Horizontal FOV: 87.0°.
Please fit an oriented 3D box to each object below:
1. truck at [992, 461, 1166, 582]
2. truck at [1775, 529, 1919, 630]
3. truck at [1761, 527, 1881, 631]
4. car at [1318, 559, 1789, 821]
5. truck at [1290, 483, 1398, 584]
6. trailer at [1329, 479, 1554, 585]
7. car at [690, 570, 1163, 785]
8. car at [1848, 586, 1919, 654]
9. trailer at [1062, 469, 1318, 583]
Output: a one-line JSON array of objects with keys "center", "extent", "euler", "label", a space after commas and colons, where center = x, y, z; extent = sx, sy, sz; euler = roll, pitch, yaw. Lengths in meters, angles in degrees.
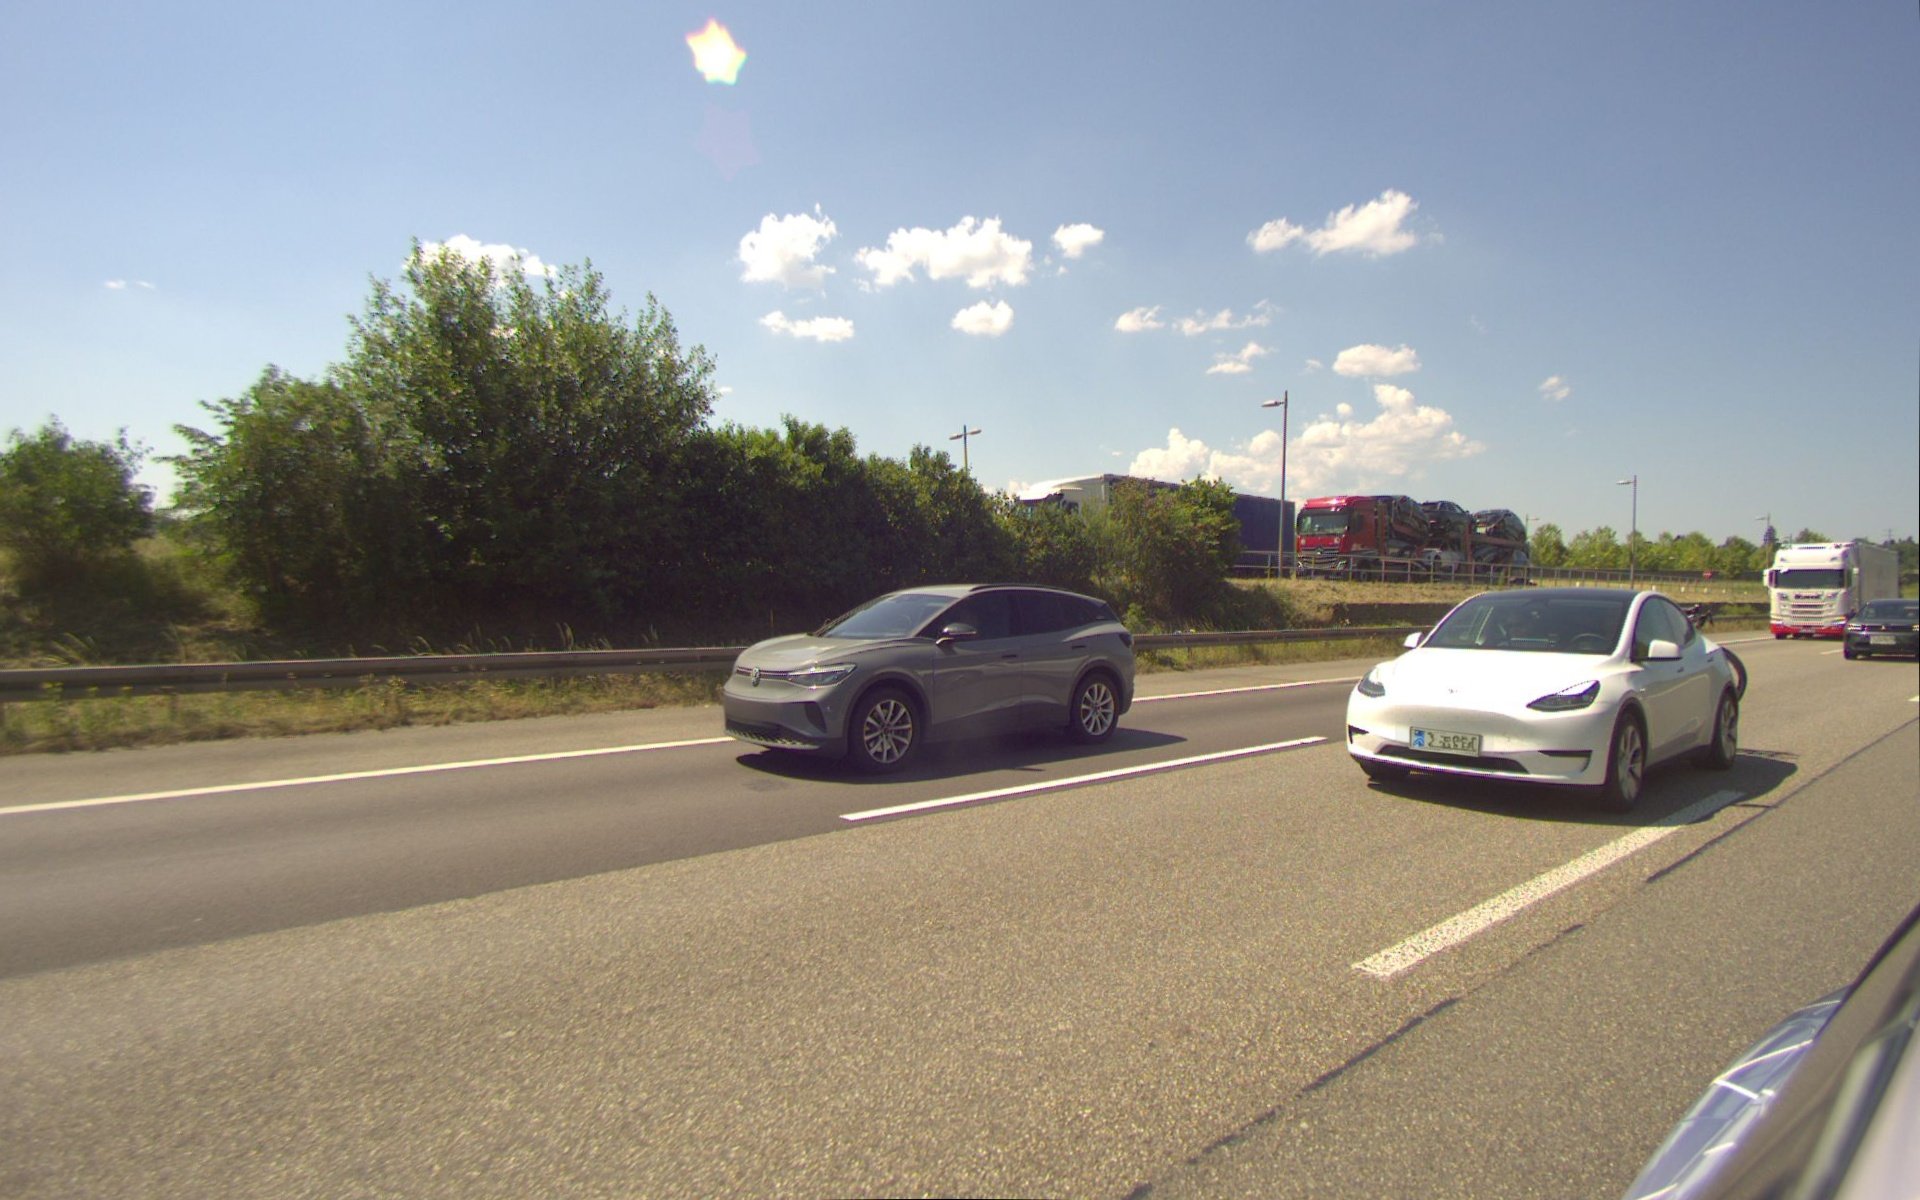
[{"center": [4.551, -2.762, 38.021], "extent": [6.288, 4.135, 3.057], "euler": [-1, 0, -42], "label": "truck"}, {"center": [39.682, -0.869, 45.001], "extent": [12.283, 3.957, 3.074], "euler": [-1, 0, -40], "label": "truck"}, {"center": [34.630, -0.805, 40.710], "extent": [3.779, 3.957, 3.074], "euler": [0, 0, -40], "label": "truck"}, {"center": [5.510, 0.540, 8.973], "extent": [5.503, 1.657, 1.953], "euler": [-1, 0, -41], "label": "car"}, {"center": [15.840, -2.634, 41.696], "extent": [3.930, 3.875, 2.607], "euler": [-1, 0, -41], "label": "truck"}, {"center": [23.546, -2.924, 48.336], "extent": [18.099, 4.311, 2.610], "euler": [-1, 0, -41], "label": "trailer"}, {"center": [-0.150, 0.568, 9.990], "extent": [4.506, 1.657, 1.871], "euler": [-1, 0, -41], "label": "car"}, {"center": [25.081, 0.476, 26.606], "extent": [3.974, 1.667, 1.955], "euler": [-1, 0, -39], "label": "car"}, {"center": [10.238, -2.846, 43.081], "extent": [14.012, 4.135, 3.057], "euler": [-1, 0, -42], "label": "trailer"}]
